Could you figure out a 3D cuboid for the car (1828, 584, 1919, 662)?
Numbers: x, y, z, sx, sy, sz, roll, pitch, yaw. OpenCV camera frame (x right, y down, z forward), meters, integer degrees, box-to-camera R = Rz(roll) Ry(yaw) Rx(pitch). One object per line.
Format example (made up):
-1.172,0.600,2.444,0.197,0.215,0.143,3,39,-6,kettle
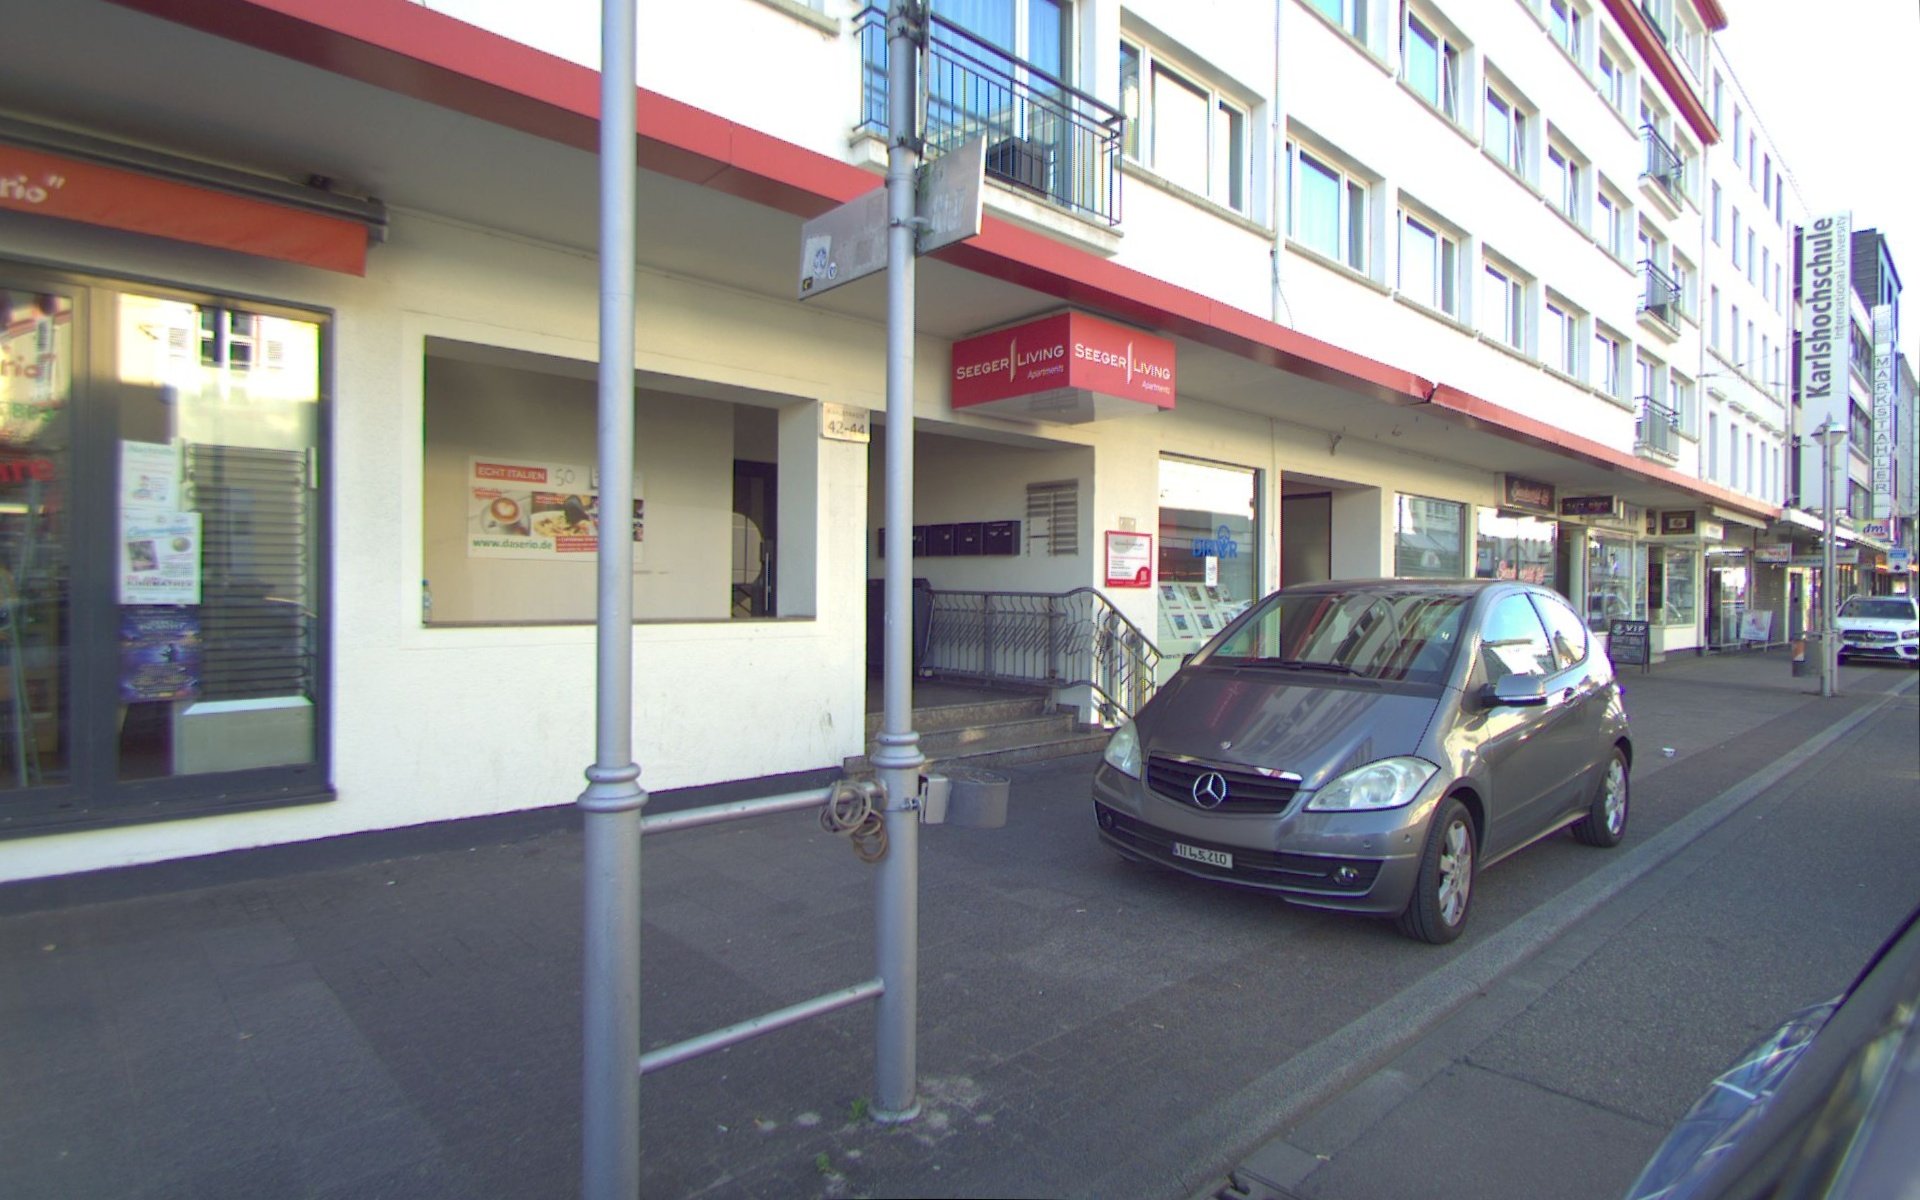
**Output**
22.284,0.476,24.196,4.092,1.684,1.781,-1,2,-42,car

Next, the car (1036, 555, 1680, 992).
2.416,0.581,5.646,3.893,1.588,1.780,-1,2,-42,car

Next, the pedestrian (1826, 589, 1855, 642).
31.325,0.537,35.990,0.794,1.840,0.704,0,0,-44,pedestrian
